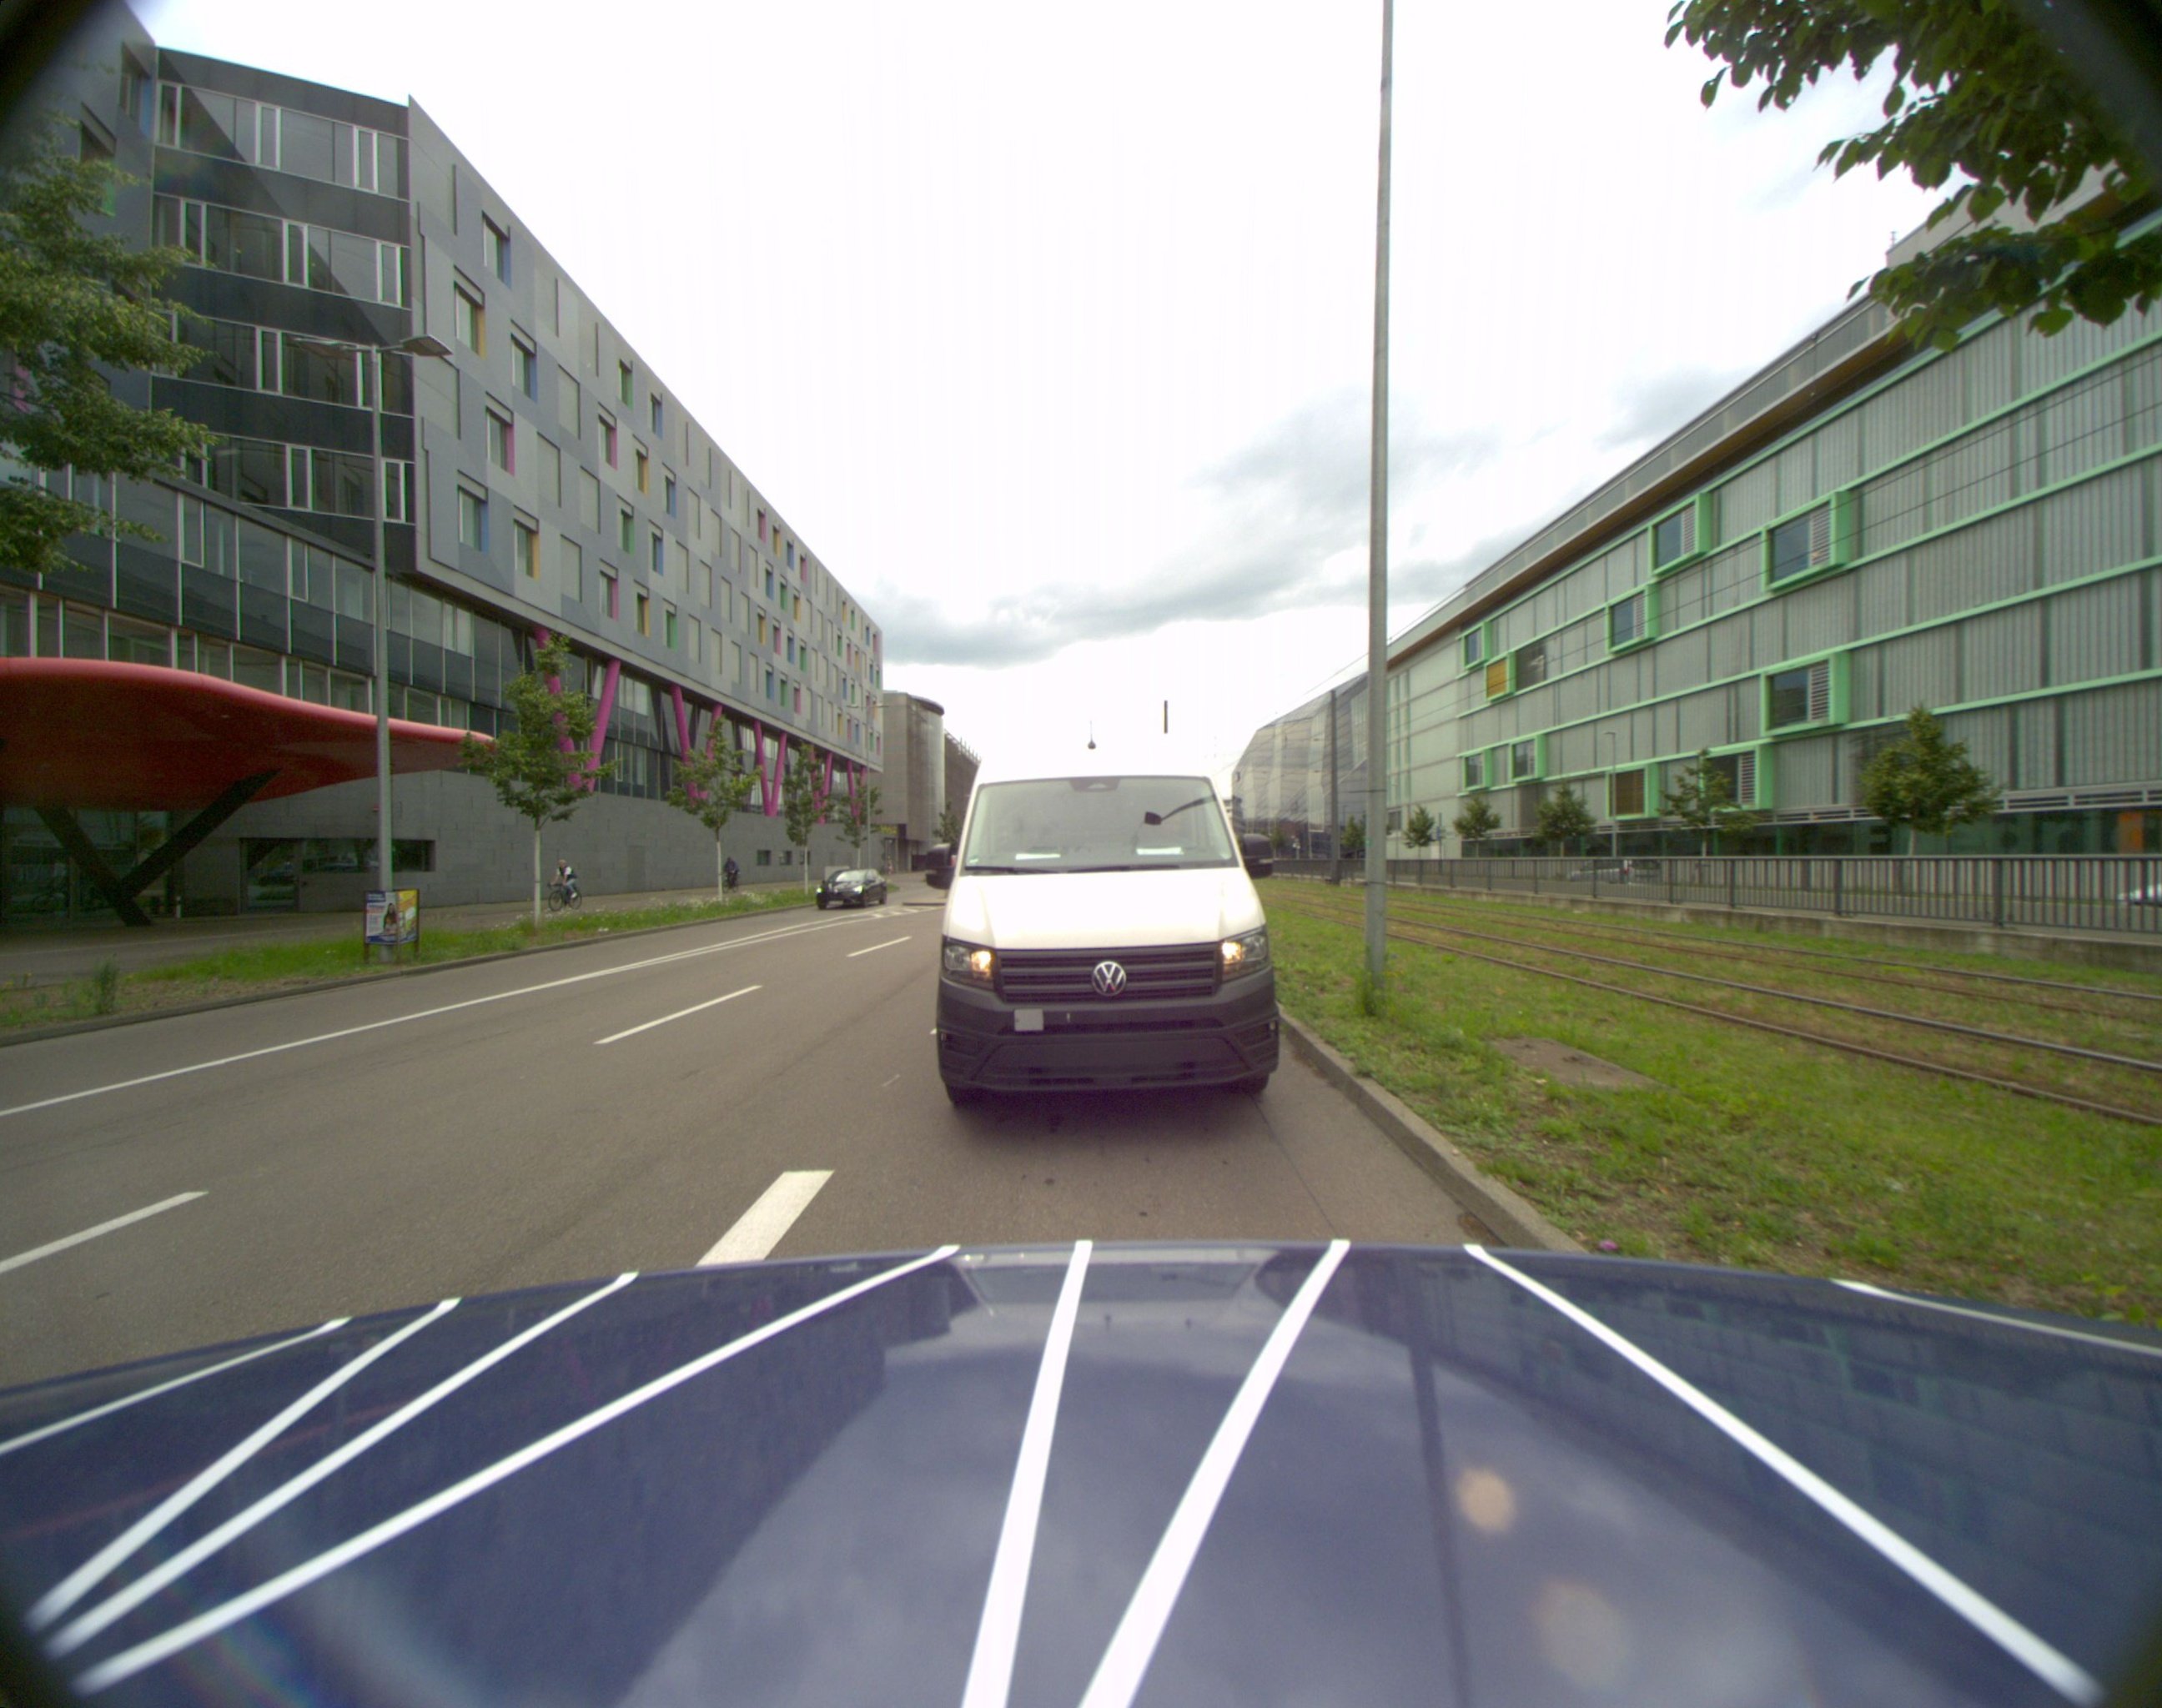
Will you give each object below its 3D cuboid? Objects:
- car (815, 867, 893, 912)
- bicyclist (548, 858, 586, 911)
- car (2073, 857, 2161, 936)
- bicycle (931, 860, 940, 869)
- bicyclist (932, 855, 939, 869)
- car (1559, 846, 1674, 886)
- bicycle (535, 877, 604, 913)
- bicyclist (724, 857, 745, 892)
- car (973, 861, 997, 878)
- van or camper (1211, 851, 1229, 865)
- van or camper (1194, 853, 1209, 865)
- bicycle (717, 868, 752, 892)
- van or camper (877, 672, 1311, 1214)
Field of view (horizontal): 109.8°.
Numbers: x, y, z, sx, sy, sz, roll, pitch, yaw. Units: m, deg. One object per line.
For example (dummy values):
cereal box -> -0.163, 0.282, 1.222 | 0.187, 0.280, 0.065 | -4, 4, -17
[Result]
car -> -8.390, 1.260, 28.443 | 1.567, 1.453, 4.342 | 1, 0, 1
bicyclist -> -17.843, 1.037, 26.388 | 0.784, 1.792, 0.705 | -1, 0, 0
car -> 23.709, 0.902, 15.143 | 1.725, 1.634, 4.674 | 0, 0, -1
bicycle -> -19.570, 1.452, 102.362 | 0.785, 1.187, 2.220 | 0, 0, -1
bicyclist -> -19.569, 1.093, 102.420 | 0.772, 1.776, 0.974 | 0, 0, -1
car -> 23.803, 0.491, 33.996 | 1.801, 1.562, 4.577 | -3, 1, -1
bicycle -> -17.832, 1.400, 26.578 | 0.801, 1.151, 2.345 | -2, -1, 0
bicyclist -> -18.259, 1.086, 40.040 | 0.784, 1.790, 0.705 | -1, -4, 0
car -> -8.912, 1.422, 71.053 | 1.567, 1.452, 4.342 | -2, 0, 1
van or camper -> 24.202, 0.671, 132.522 | 2.178, 2.273, 5.359 | 0, 0, 1
van or camper -> 24.049, 1.004, 151.767 | 2.178, 2.273, 6.507 | -2, 0, 1
bicycle -> -18.251, 1.400, 40.106 | 0.801, 1.150, 2.346 | -2, -4, 0
van or camper -> 0.067, 0.435, 6.177 | 2.043, 2.572, 5.041 | -1, 0, 0
